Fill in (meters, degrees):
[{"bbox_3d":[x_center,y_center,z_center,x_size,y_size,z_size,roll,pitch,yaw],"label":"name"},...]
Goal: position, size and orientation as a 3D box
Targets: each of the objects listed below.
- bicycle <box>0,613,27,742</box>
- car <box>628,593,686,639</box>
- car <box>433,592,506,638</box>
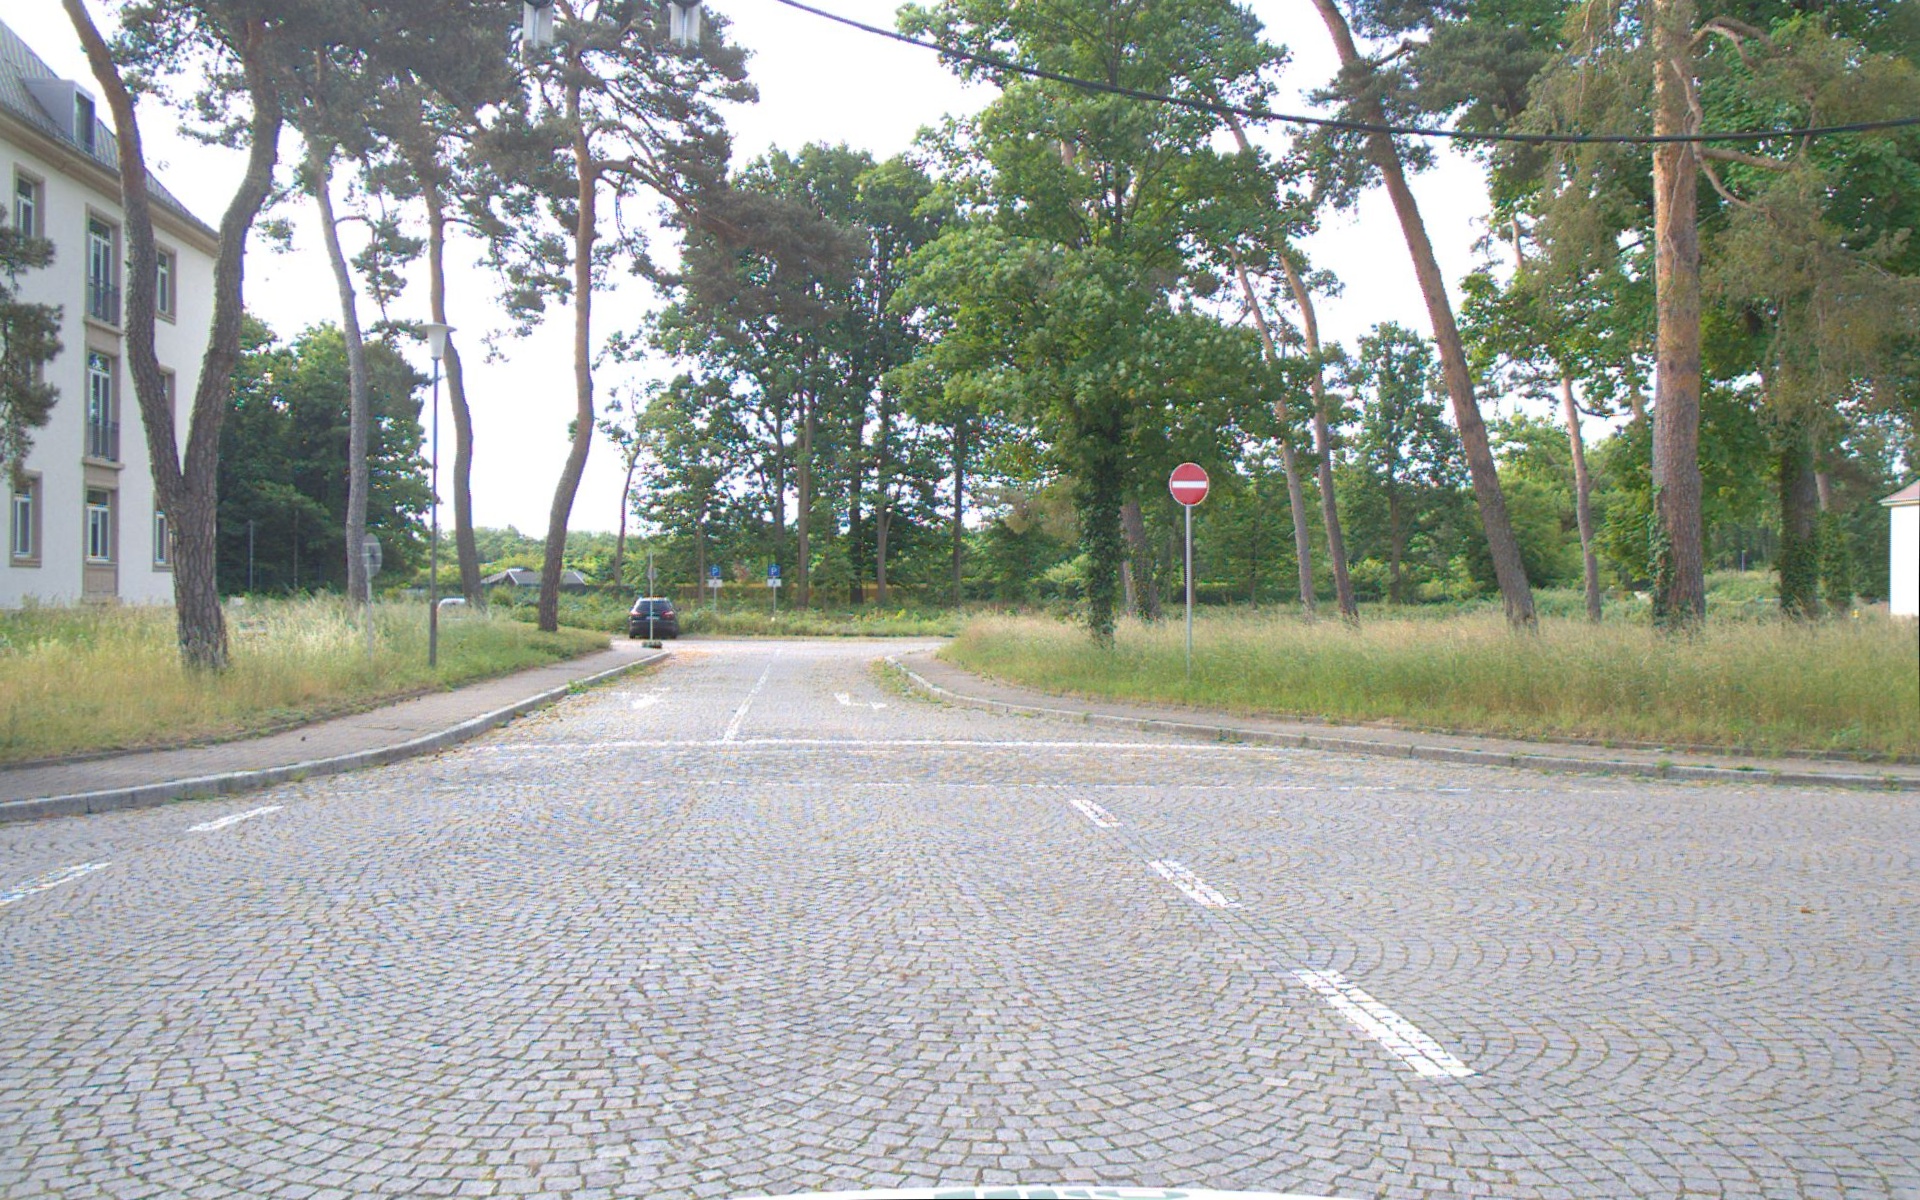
[{"bbox_3d":[-9.102,0.674,14.620,1.386,1.093,0.497,1,2,-9],"label":"bicycle"},{"bbox_3d":[-11.730,0.586,64.252,1.677,1.638,4.055,2,0,-3],"label":"car"},{"bbox_3d":[-18.989,0.559,64.191,1.676,1.638,4.057,2,0,-1],"label":"car"}]
